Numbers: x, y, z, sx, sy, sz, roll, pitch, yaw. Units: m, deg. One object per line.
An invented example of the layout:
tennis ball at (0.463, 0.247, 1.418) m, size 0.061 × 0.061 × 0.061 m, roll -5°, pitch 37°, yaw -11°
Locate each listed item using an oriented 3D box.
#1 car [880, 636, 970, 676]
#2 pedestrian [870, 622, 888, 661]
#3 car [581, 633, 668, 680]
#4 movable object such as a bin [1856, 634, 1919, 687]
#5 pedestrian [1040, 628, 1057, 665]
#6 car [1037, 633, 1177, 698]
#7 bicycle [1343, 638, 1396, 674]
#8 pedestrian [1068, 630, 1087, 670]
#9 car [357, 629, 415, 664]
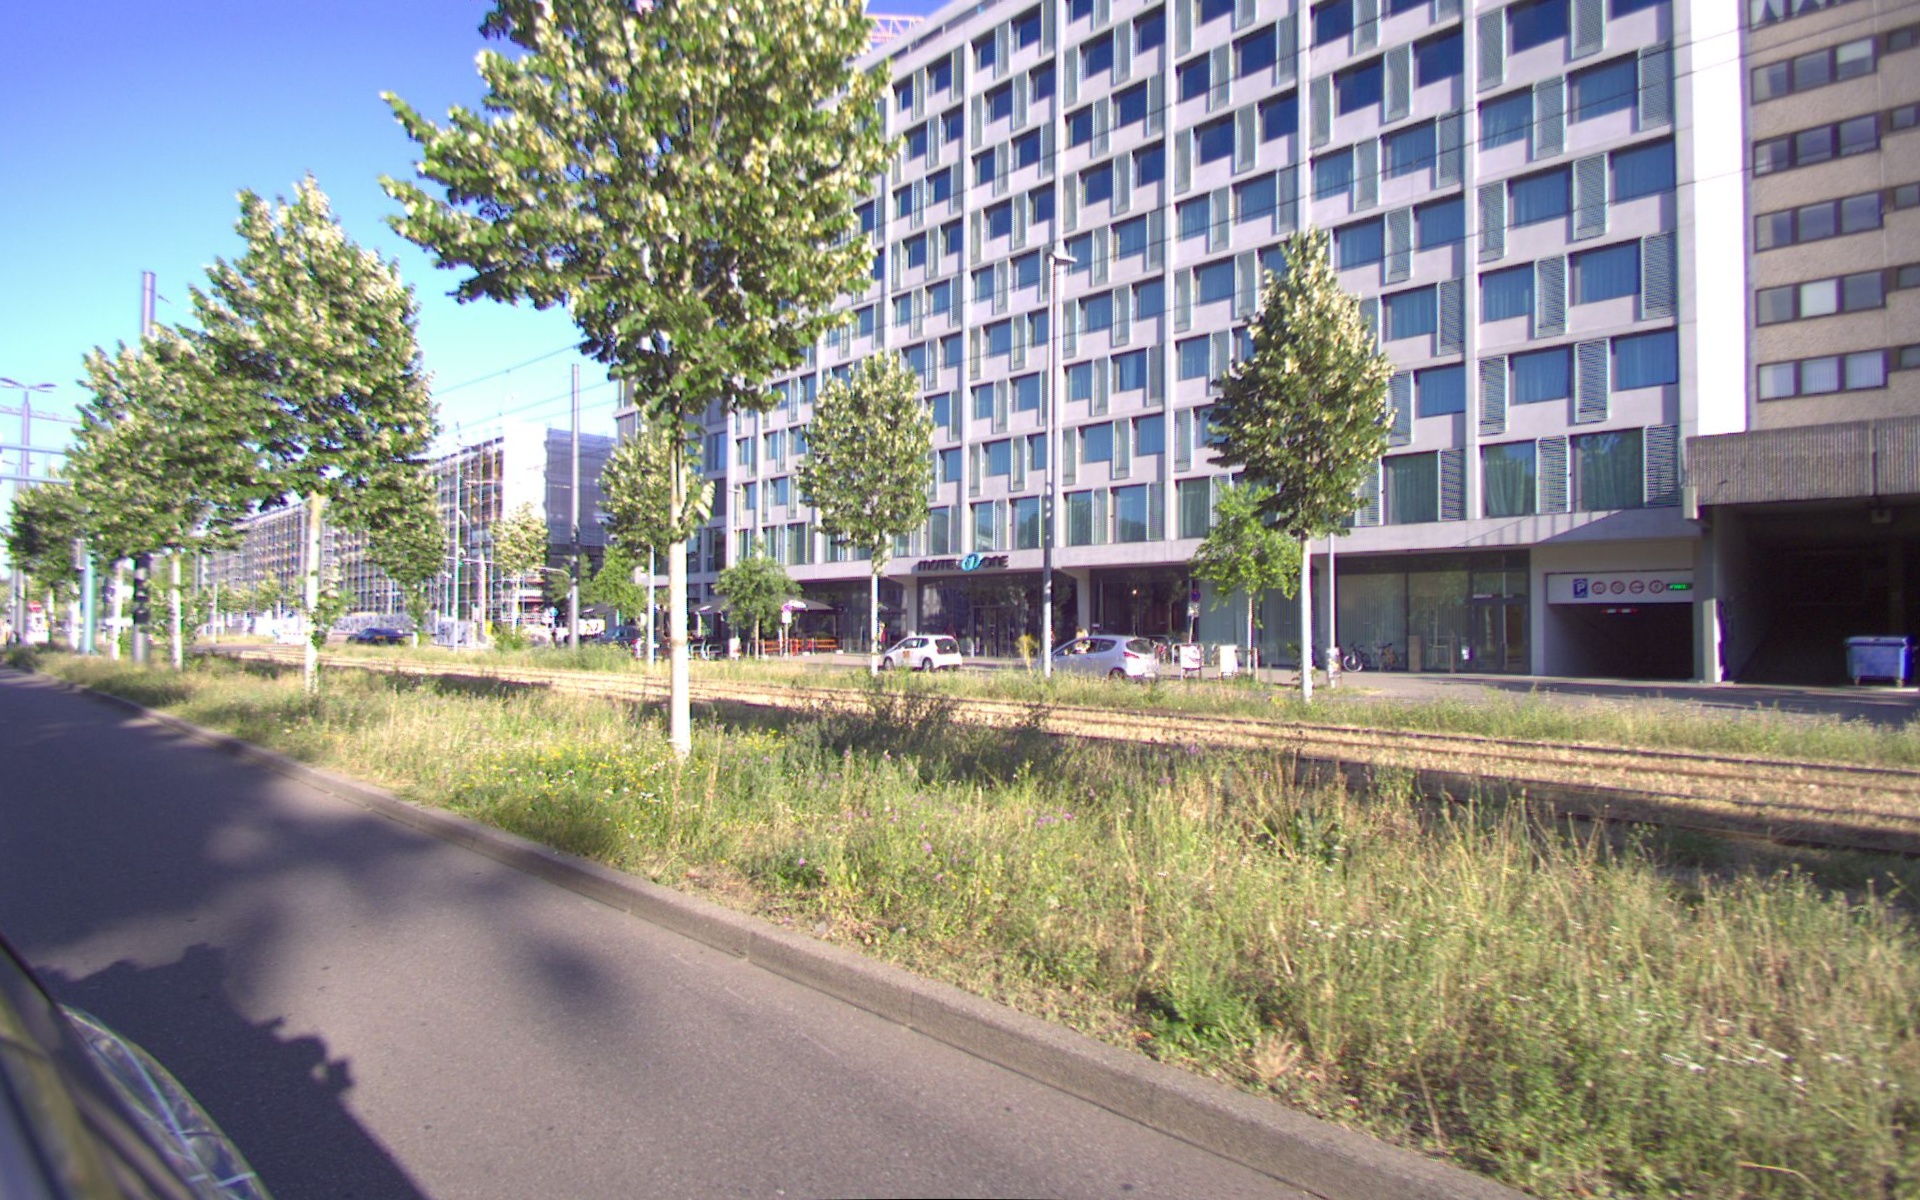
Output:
car at (-1.461, 2.257, 41.386) m, size 3.390 × 1.477 × 1.849 m, roll -1°, pitch 0°, yaw 44°
pedestrian at (-4.191, 2.144, 52.296) m, size 0.726 × 2.029 × 0.613 m, roll -2°, pitch -3°, yaw 44°
car at (-13.923, 2.299, 41.893) m, size 3.794 × 1.765 × 1.849 m, roll -1°, pitch 0°, yaw 44°
movable object such as a bin at (24.571, 1.580, 26.795) m, size 1.233 × 1.344 × 1.371 m, roll -2°, pitch -3°, yaw 42°
pedestrian at (3.993, 2.073, 45.574) m, size 0.597 × 1.648 × 0.472 m, roll -2°, pitch -3°, yaw 44°
car at (4.091, 1.771, 28.421) m, size 3.483 × 1.603 × 1.849 m, roll -1°, pitch 0°, yaw 44°
bicycle at (14.573, 1.997, 36.047) m, size 1.716 × 1.239 × 0.390 m, roll -1°, pitch -3°, yaw 35°
pedestrian at (4.812, 2.034, 41.409) m, size 0.597 × 1.648 × 0.472 m, roll -2°, pitch -3°, yaw 44°
car at (-32.312, 2.580, 56.934) m, size 3.794 × 1.765 × 1.849 m, roll -1°, pitch 0°, yaw 44°
